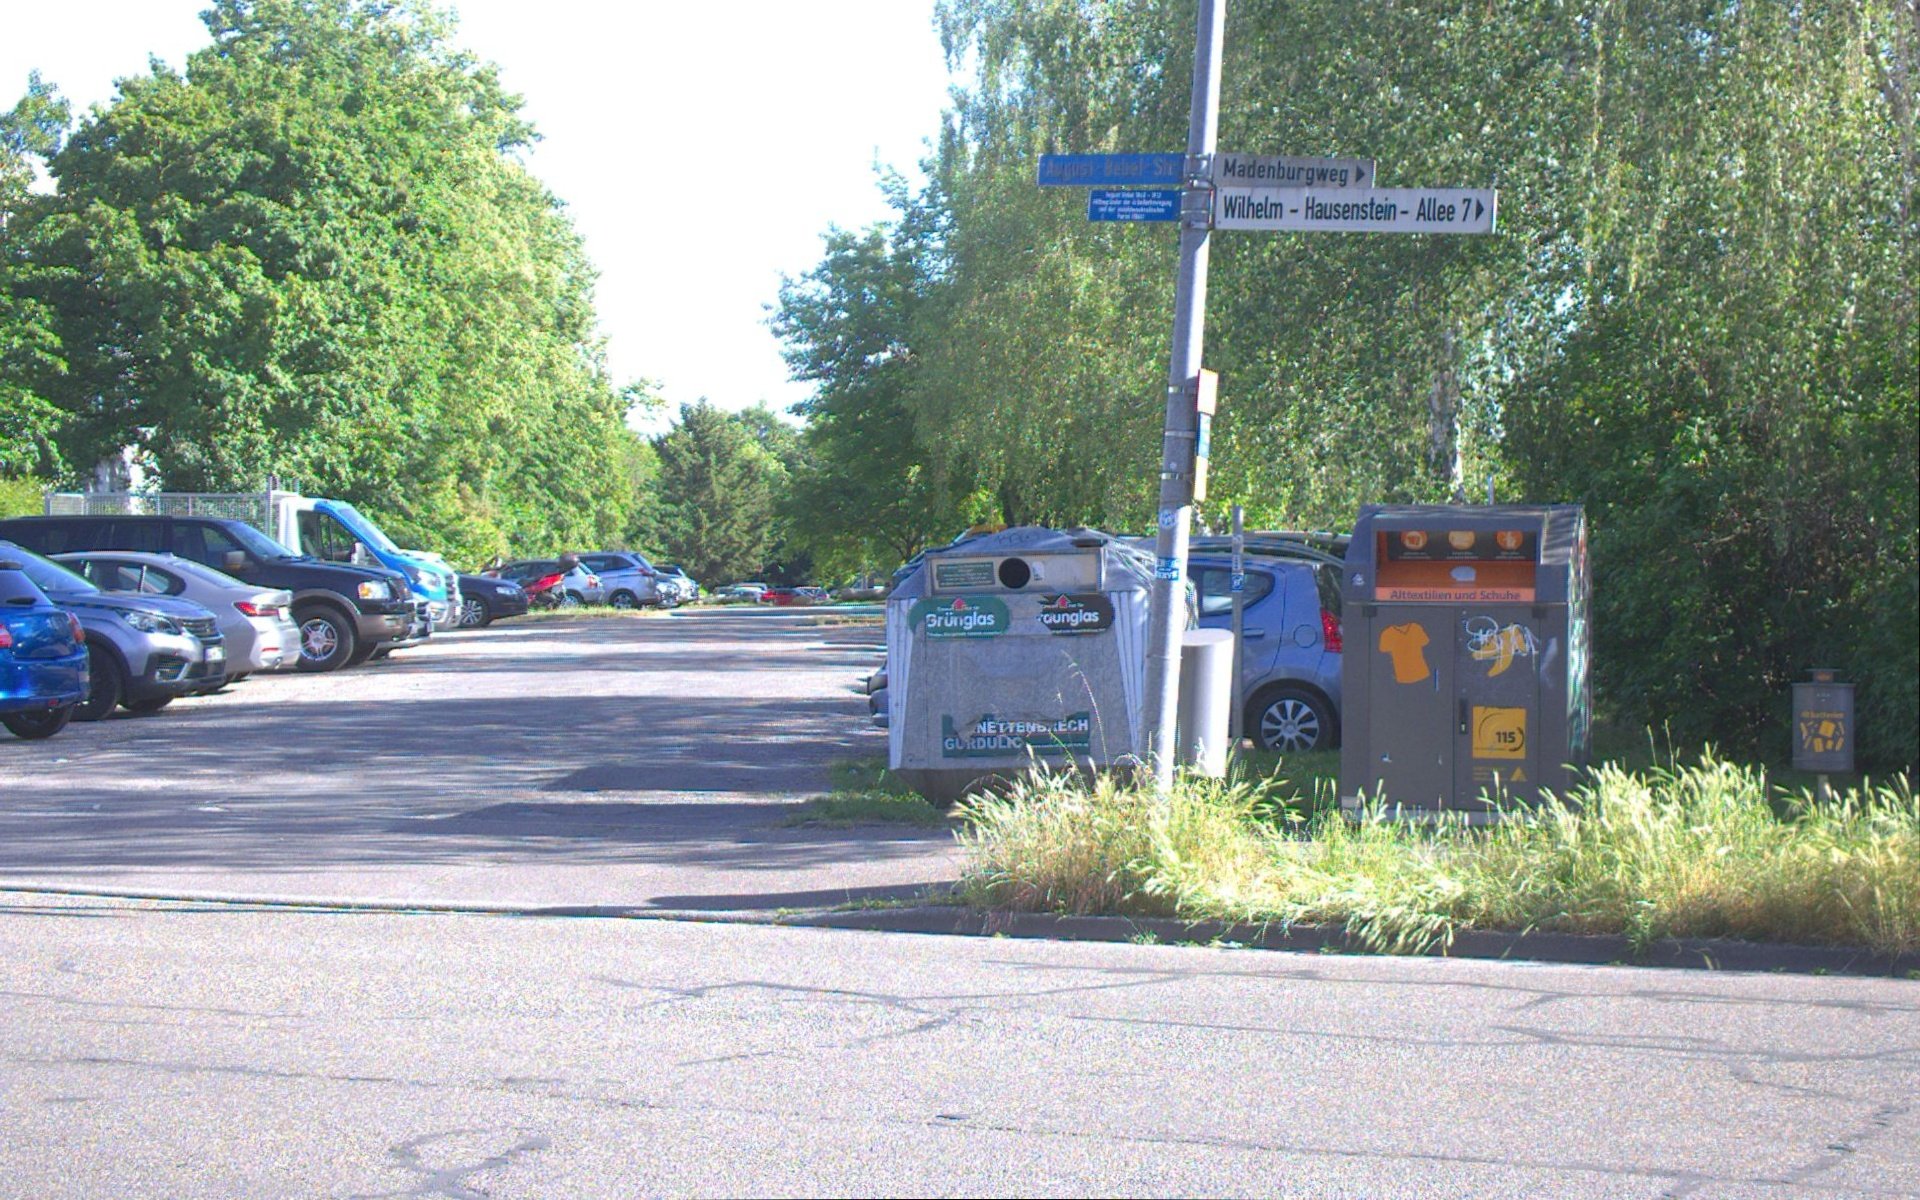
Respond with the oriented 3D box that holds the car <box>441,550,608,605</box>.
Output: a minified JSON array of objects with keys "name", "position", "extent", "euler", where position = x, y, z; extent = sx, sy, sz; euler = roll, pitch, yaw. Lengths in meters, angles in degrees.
[{"name":"car","position":[-10.794,-0.559,85.343],"extent":[3.939,1.329,1.847],"euler":[0,1,-1]}]

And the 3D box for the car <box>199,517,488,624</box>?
[{"name":"car","position":[-10.368,-0.505,58.031],"extent":[4.522,1.765,1.847],"euler":[0,1,1]}]

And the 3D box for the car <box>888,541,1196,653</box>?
[{"name":"car","position":[1.111,-0.044,45.760],"extent":[3.987,1.396,1.797],"euler":[1,0,3]}]

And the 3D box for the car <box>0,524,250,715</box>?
[{"name":"car","position":[-9.086,0.169,30.883],"extent":[4.993,1.649,1.784],"euler":[-1,1,5]}]

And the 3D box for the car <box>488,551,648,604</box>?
[{"name":"car","position":[-10.075,-0.592,88.643],"extent":[3.939,1.329,1.847],"euler":[0,1,-1]}]

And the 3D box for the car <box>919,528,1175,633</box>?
[{"name":"car","position":[1.399,-0.310,54.628],"extent":[3.987,1.580,1.797],"euler":[1,0,3]}]

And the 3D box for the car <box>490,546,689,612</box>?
[{"name":"car","position":[-7.640,-0.441,71.130],"extent":[3.939,1.329,1.847],"euler":[0,1,-1]}]

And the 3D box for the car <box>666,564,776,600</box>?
[{"name":"car","position":[-8.163,-0.634,117.736],"extent":[3.644,1.208,1.847],"euler":[0,1,-1]}]

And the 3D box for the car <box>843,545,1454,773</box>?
[{"name":"car","position":[1.359,0.379,24.209],"extent":[4.055,1.434,1.634],"euler":[2,1,13]}]

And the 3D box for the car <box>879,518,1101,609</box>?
[{"name":"car","position":[0.574,-0.662,63.111],"extent":[3.987,1.580,1.797],"euler":[1,0,3]}]

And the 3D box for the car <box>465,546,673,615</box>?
[{"name":"car","position":[-7.738,-0.395,68.235],"extent":[3.939,1.329,1.847],"euler":[0,1,-1]}]

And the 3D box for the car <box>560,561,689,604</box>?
[{"name":"car","position":[-10.595,-0.554,108.679],"extent":[3.939,1.329,1.847],"euler":[0,1,-1]}]

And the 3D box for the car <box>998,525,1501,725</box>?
[{"name":"car","position":[2.460,0.193,29.813],"extent":[4.052,1.597,1.791],"euler":[1,2,-6]}]

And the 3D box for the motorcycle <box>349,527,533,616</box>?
[{"name":"motorcycle","position":[-9.385,-0.523,62.212],"extent":[3.191,1.590,0.923],"euler":[0,1,1]}]

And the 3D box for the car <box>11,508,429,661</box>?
[{"name":"car","position":[-8.756,-0.197,40.884],"extent":[4.523,1.765,1.847],"euler":[0,1,5]}]

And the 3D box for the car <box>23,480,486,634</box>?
[{"name":"car","position":[-10.112,-0.624,49.735],"extent":[6.255,2.140,2.411],"euler":[0,1,-2]}]

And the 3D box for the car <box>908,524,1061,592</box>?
[{"name":"car","position":[0.672,-1.114,91.669],"extent":[3.987,1.702,1.797],"euler":[1,0,3]}]

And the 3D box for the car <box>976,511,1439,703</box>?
[{"name":"car","position":[2.314,0.051,32.773],"extent":[4.103,1.700,1.791],"euler":[1,2,-7]}]

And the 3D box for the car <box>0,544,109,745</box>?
[{"name":"car","position":[-8.733,0.334,26.866],"extent":[3.682,1.491,1.650],"euler":[0,1,13]}]

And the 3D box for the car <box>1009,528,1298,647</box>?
[{"name":"car","position":[2.737,-0.184,48.744],"extent":[3.987,1.580,1.797],"euler":[1,0,3]}]

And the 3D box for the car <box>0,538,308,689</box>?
[{"name":"car","position":[-8.818,0.131,34.830],"extent":[4.143,1.450,1.619],"euler":[-1,1,-2]}]
